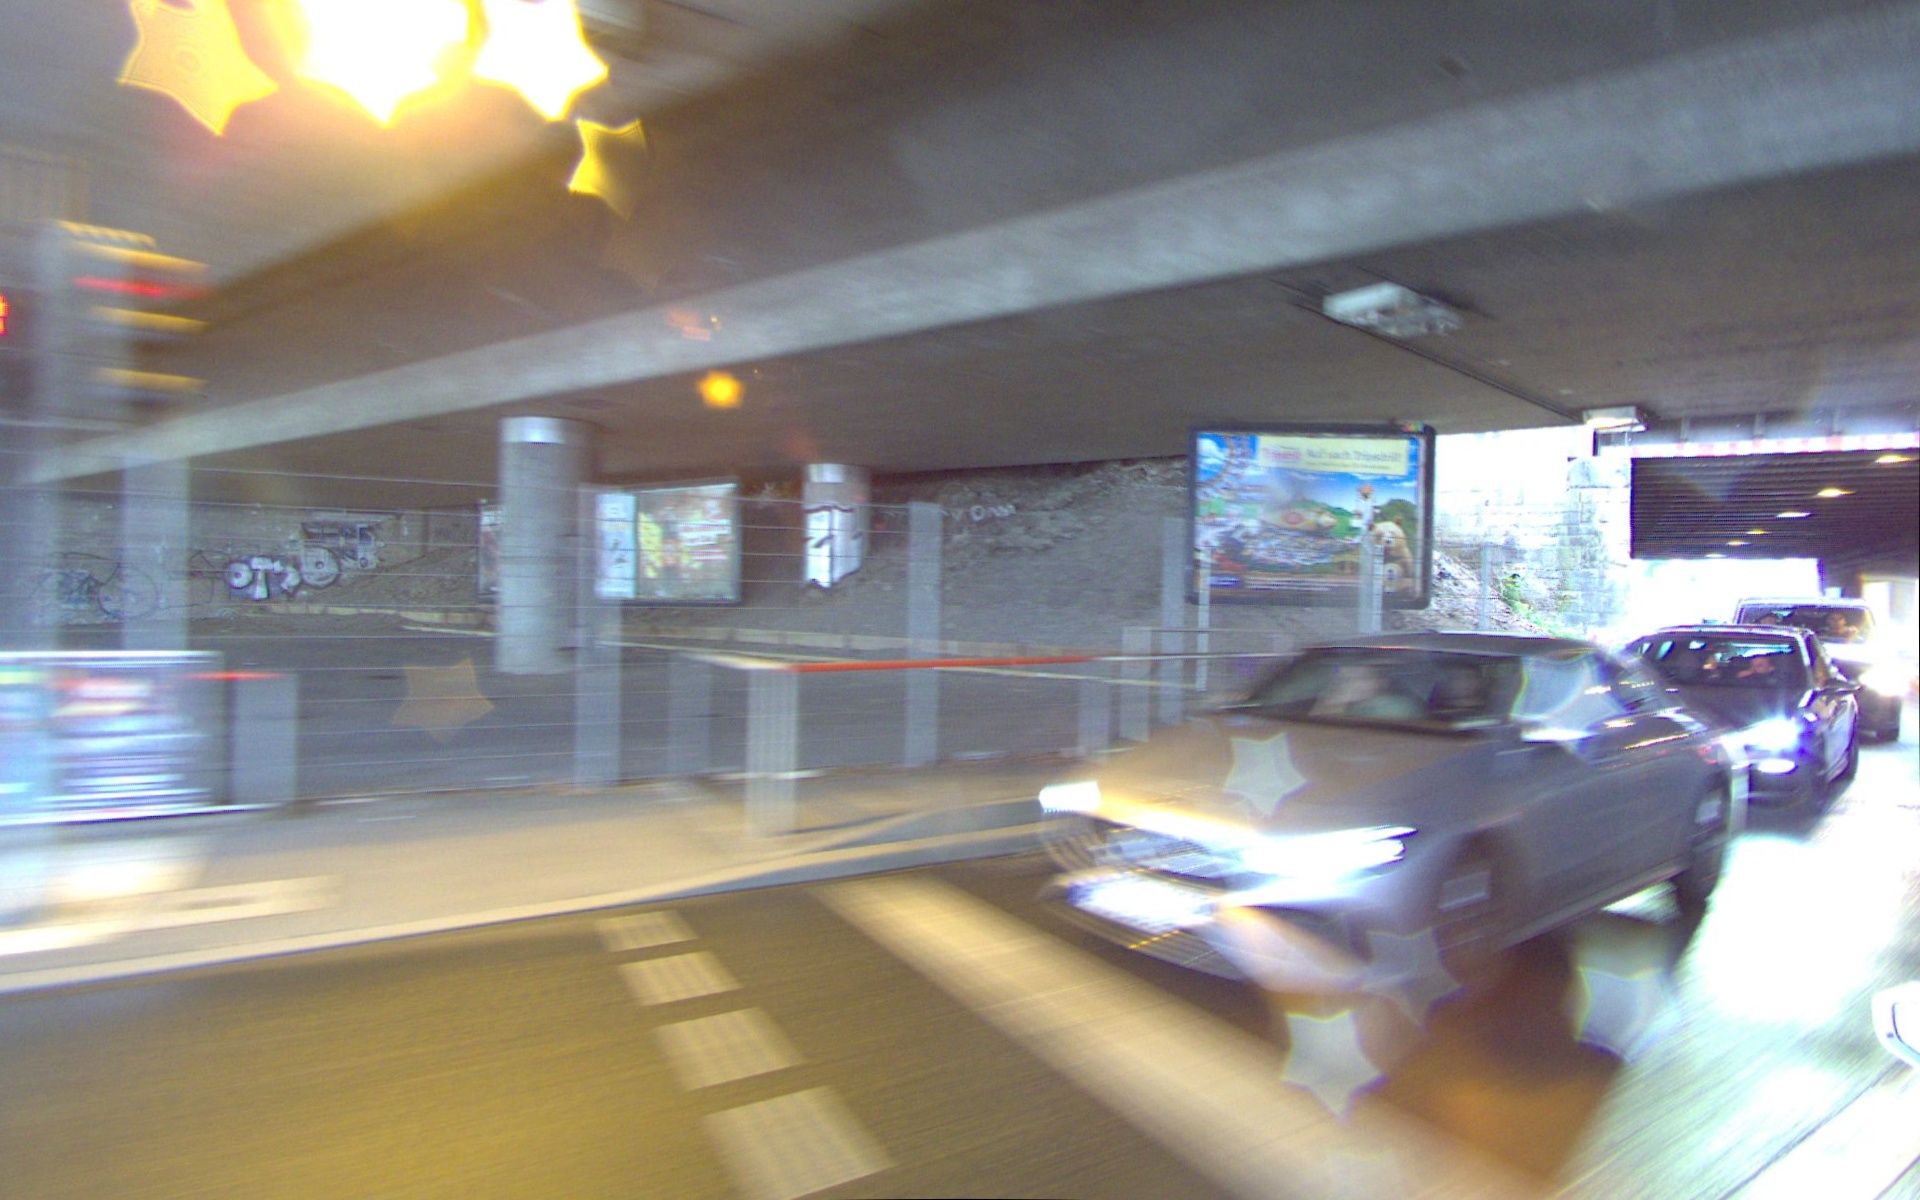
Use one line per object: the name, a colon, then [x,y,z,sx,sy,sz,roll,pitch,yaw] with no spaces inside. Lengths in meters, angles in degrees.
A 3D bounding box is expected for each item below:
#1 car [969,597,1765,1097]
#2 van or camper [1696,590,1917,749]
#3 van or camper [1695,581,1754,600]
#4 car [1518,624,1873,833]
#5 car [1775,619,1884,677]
car: [2.395,0.838,5.304,4.461,1.550,1.978,2,-2,-38]
van or camper: [12.073,0.895,14.672,1.967,1.893,5.123,0,-1,35]
van or camper: [86.695,-1.095,113.972,5.243,2.040,2.069,1,0,39]
car: [6.951,0.986,9.337,4.077,1.484,1.975,2,-2,-43]
car: [23.899,1.253,27.742,1.811,1.457,4.090,0,-1,34]
